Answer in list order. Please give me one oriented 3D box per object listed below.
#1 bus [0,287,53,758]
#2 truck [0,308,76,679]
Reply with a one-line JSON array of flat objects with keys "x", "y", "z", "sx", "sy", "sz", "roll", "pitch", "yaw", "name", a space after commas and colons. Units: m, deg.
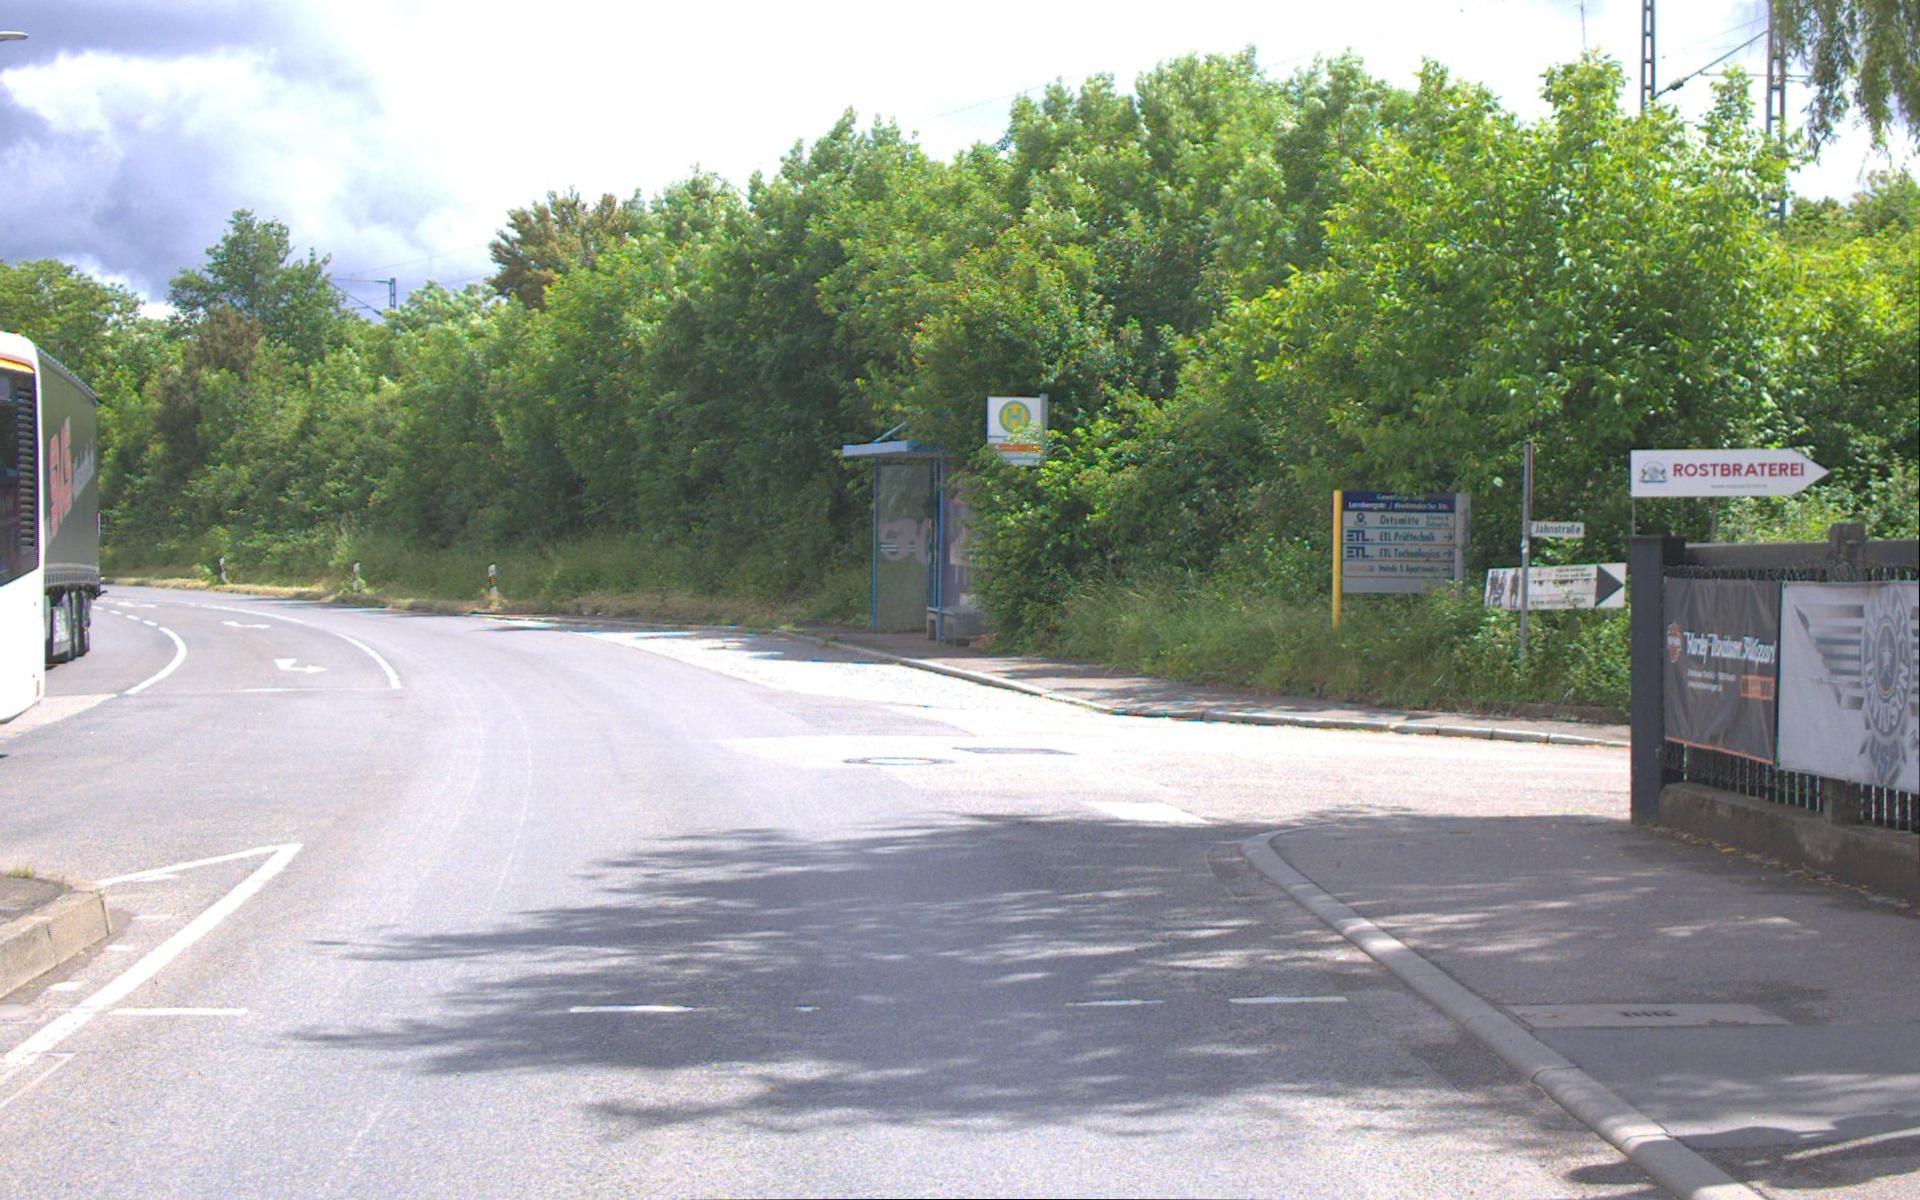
[{"x": -7.955, "y": -0.468, "z": 19.064, "sx": 2.777, "sy": 3.255, "sz": 12.124, "roll": -1, "pitch": 1, "yaw": -1, "name": "bus"}, {"x": -12.188, "y": -1.228, "z": 40.172, "sx": 2.428, "sy": 4.117, "sz": 9.152, "roll": 2, "pitch": 0, "yaw": -8, "name": "truck"}]
